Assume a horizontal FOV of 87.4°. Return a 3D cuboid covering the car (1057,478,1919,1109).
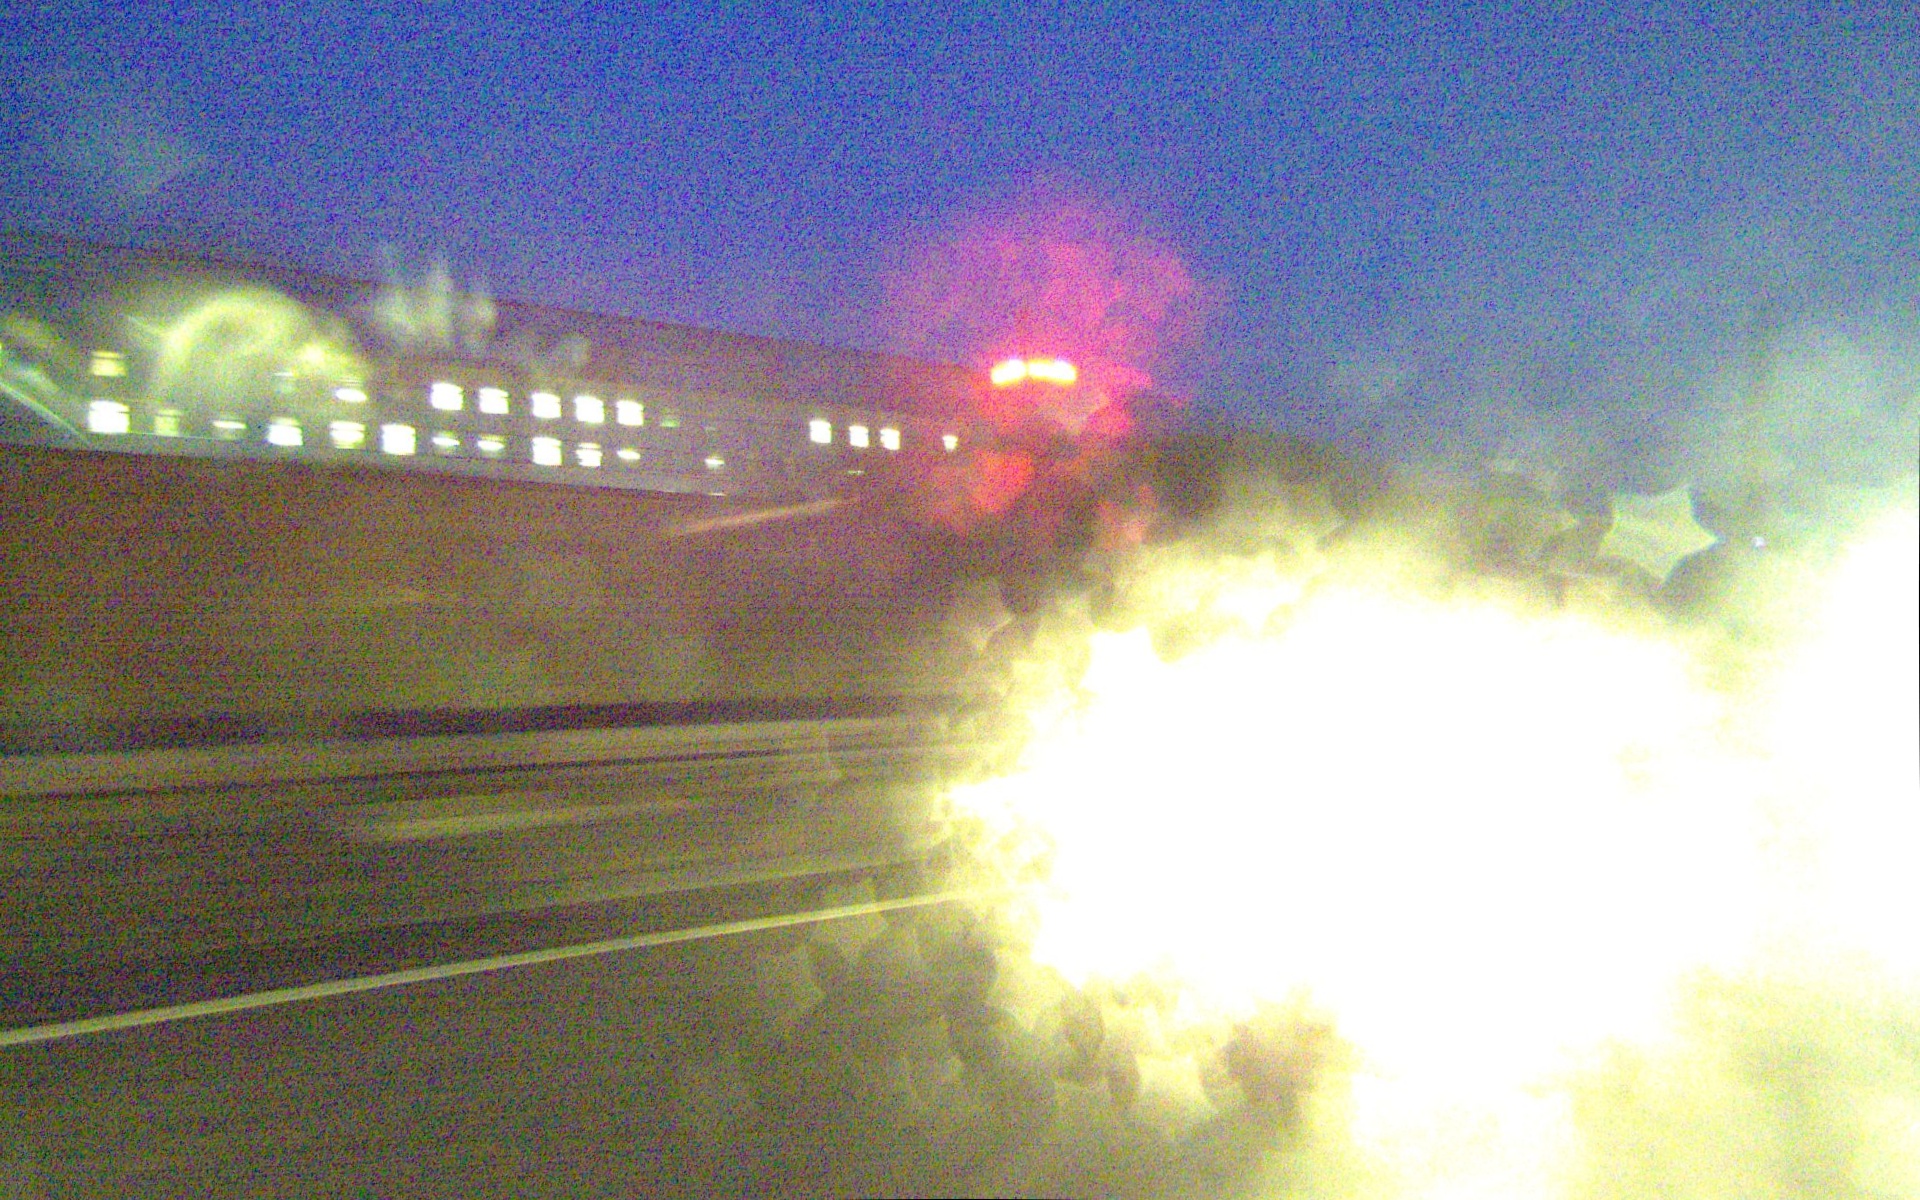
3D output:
[{"bbox_3d":[2.790,0.621,4.949,4.378,1.896,1.823,1,0,-31],"label":"car"}]
